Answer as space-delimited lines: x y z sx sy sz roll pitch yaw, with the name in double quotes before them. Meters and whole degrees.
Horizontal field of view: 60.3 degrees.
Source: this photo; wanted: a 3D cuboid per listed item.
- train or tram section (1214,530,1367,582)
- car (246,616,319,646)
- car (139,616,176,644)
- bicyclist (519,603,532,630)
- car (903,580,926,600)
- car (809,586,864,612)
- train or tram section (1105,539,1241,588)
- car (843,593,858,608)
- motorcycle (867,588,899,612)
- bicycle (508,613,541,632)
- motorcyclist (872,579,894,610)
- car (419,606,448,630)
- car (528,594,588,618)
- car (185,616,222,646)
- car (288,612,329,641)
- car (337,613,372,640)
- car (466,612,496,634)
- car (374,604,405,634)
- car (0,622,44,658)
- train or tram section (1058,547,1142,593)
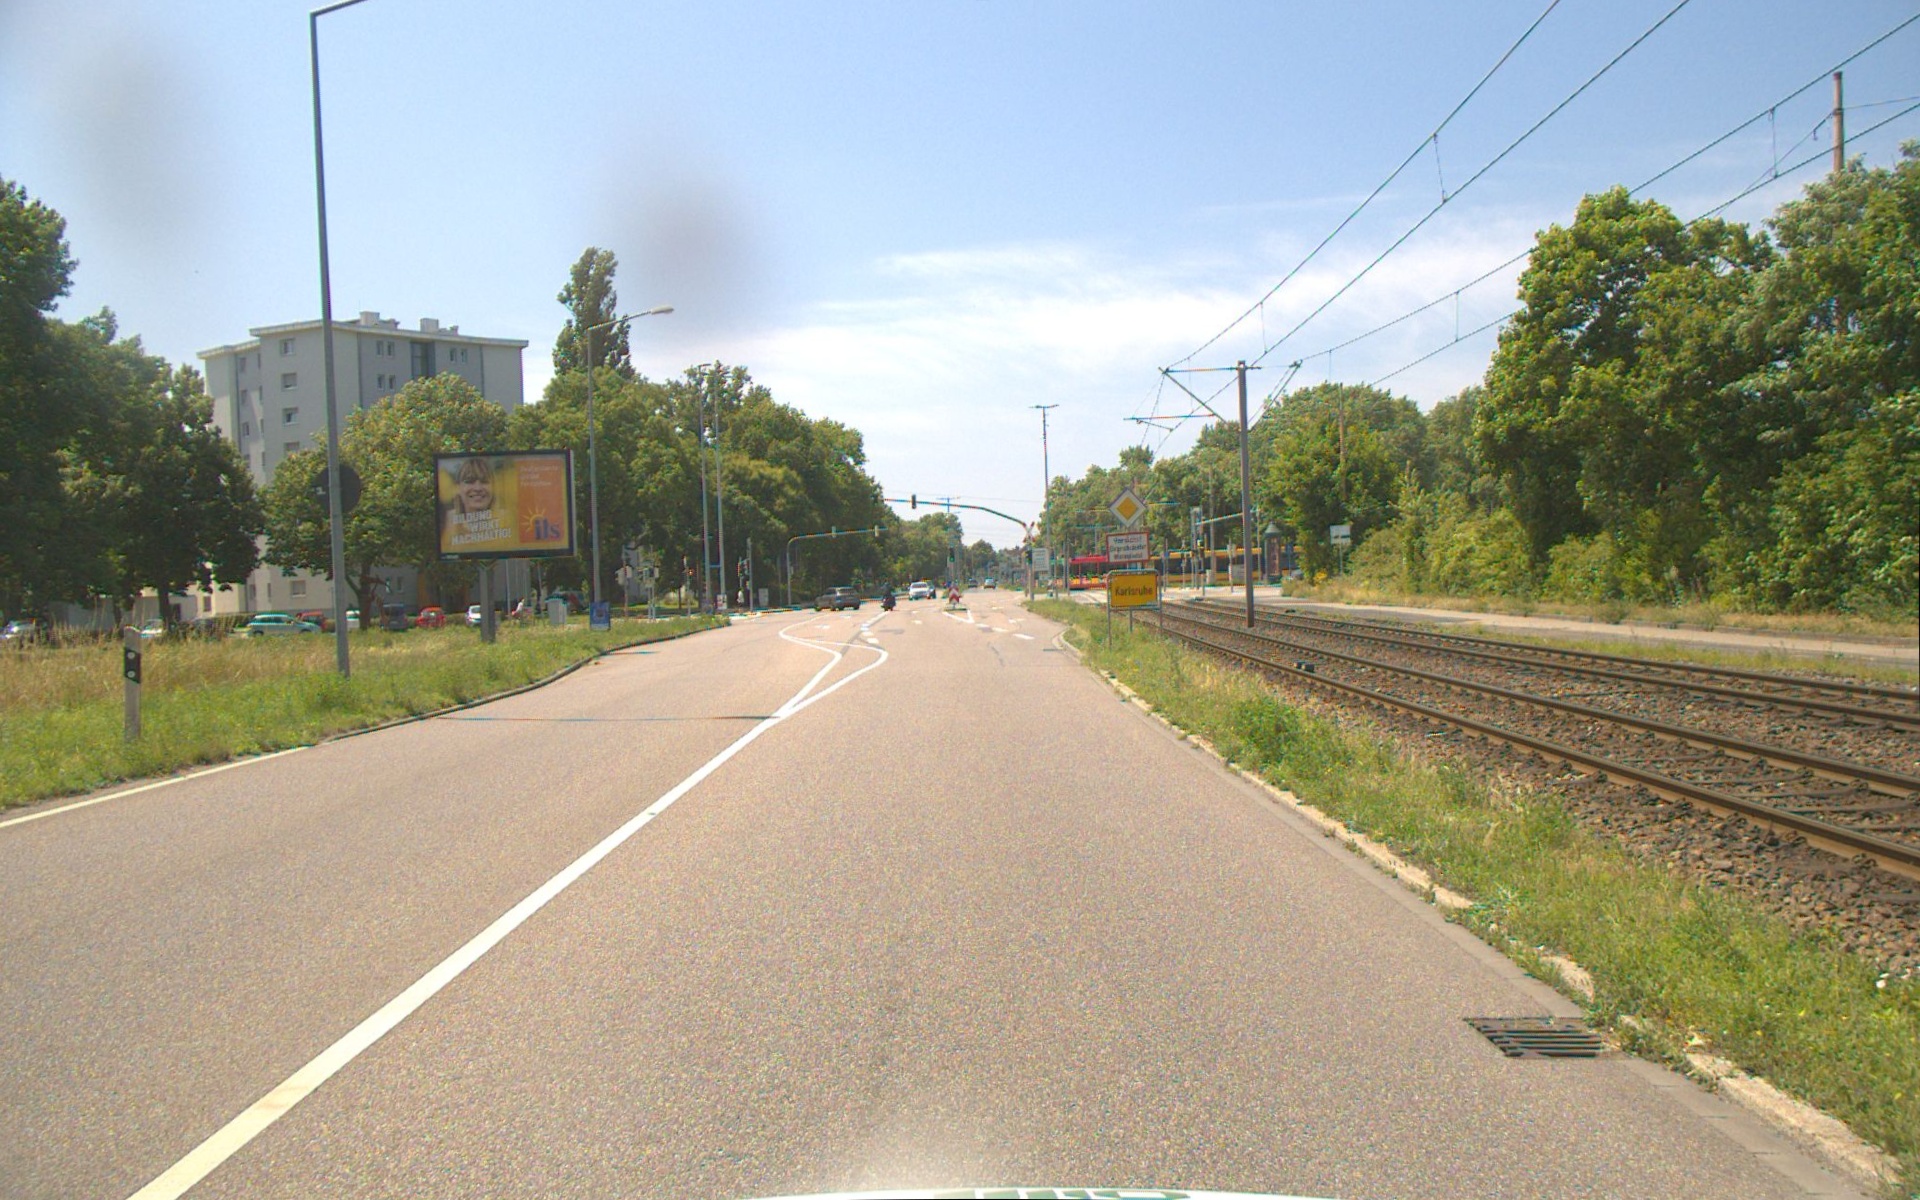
"train or tram section" 30.828 -4.051 154.661 13.720 3.988 2.921 -3 -3 26
"car" -39.098 1.766 95.490 3.835 1.494 1.762 -3 0 -25
"car" -49.639 1.848 102.394 1.664 1.589 3.813 -3 1 -21
"bicyclist" -25.836 0.978 98.249 0.655 1.564 0.627 -1 0 -22
"car" -3.898 -0.877 142.630 1.748 1.657 3.866 -3 1 1
"car" -7.629 -0.051 101.901 1.882 1.525 4.593 -2 1 -25
"train or tram section" 20.555 -3.503 160.599 13.181 3.878 2.913 -3 -3 35
"car" -15.433 0.085 233.116 1.953 2.049 3.998 1 0 -3
"motorcycle" -4.193 0.005 90.302 0.829 1.277 2.450 -1 0 19
"bicycle" -25.831 1.333 98.207 1.838 1.112 0.642 0 0 -23
"motorcyclist" -4.214 -0.288 90.348 0.773 1.671 1.211 -1 0 19
"car" -34.459 1.140 108.325 1.591 1.489 3.983 -2 0 -15
"car" -32.787 0.486 134.916 1.758 1.798 4.525 -2 1 40
"car" -47.224 1.911 103.271 1.820 1.741 3.973 -2 0 -22
"car" -41.681 1.684 105.758 1.827 1.697 3.960 -3 0 -29
"car" -39.063 1.680 106.716 1.684 1.620 3.966 -2 0 -26
"car" -31.865 1.502 109.955 1.601 1.404 3.975 -2 0 -21
"car" -37.060 1.205 107.414 1.681 1.832 3.973 -2 0 -22
"car" -56.072 2.368 98.775 1.820 1.981 3.973 -2 0 -22
"train or tram section" 14.186 -3.018 169.032 2.874 3.878 12.982 0 -3 -22
